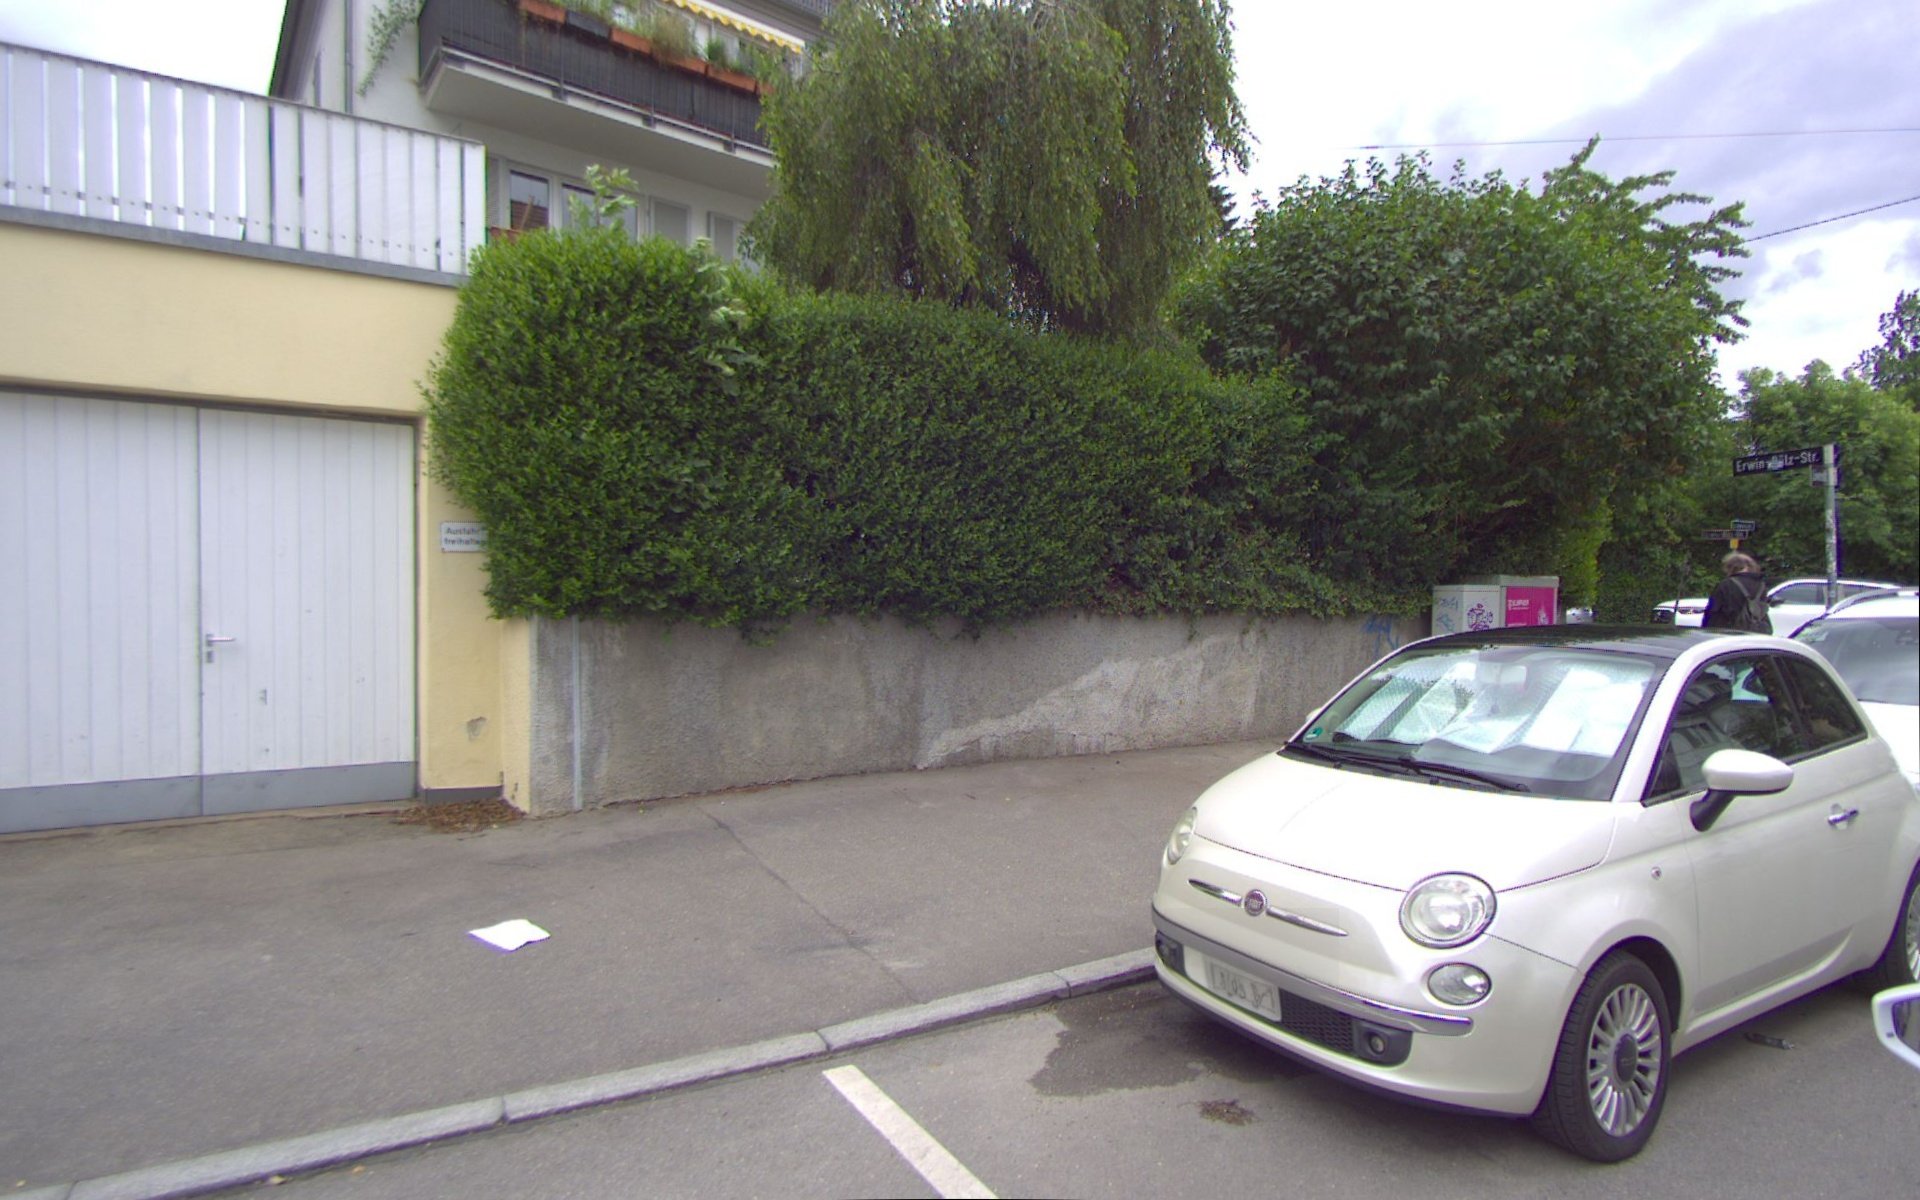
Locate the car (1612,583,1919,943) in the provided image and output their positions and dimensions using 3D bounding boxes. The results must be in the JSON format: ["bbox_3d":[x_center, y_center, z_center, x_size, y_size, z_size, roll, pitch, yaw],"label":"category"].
[{"bbox_3d":[6.026,0.747,6.136,4.102,1.681,1.795,0,1,-30],"label":"car"}]

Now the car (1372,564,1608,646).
[{"bbox_3d":[12.229,0.045,23.369,4.452,1.457,1.823,7,6,44],"label":"car"}]

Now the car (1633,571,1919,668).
[{"bbox_3d":[16.780,0.334,20.672,4.423,1.678,1.835,3,3,13],"label":"car"}]

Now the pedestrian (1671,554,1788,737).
[{"bbox_3d":[7.958,0.433,10.399,0.811,1.784,0.640,4,4,44],"label":"pedestrian"}]

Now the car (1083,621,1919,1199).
[{"bbox_3d":[2.391,0.839,3.988,3.571,1.472,1.599,1,-2,-30],"label":"car"}]
